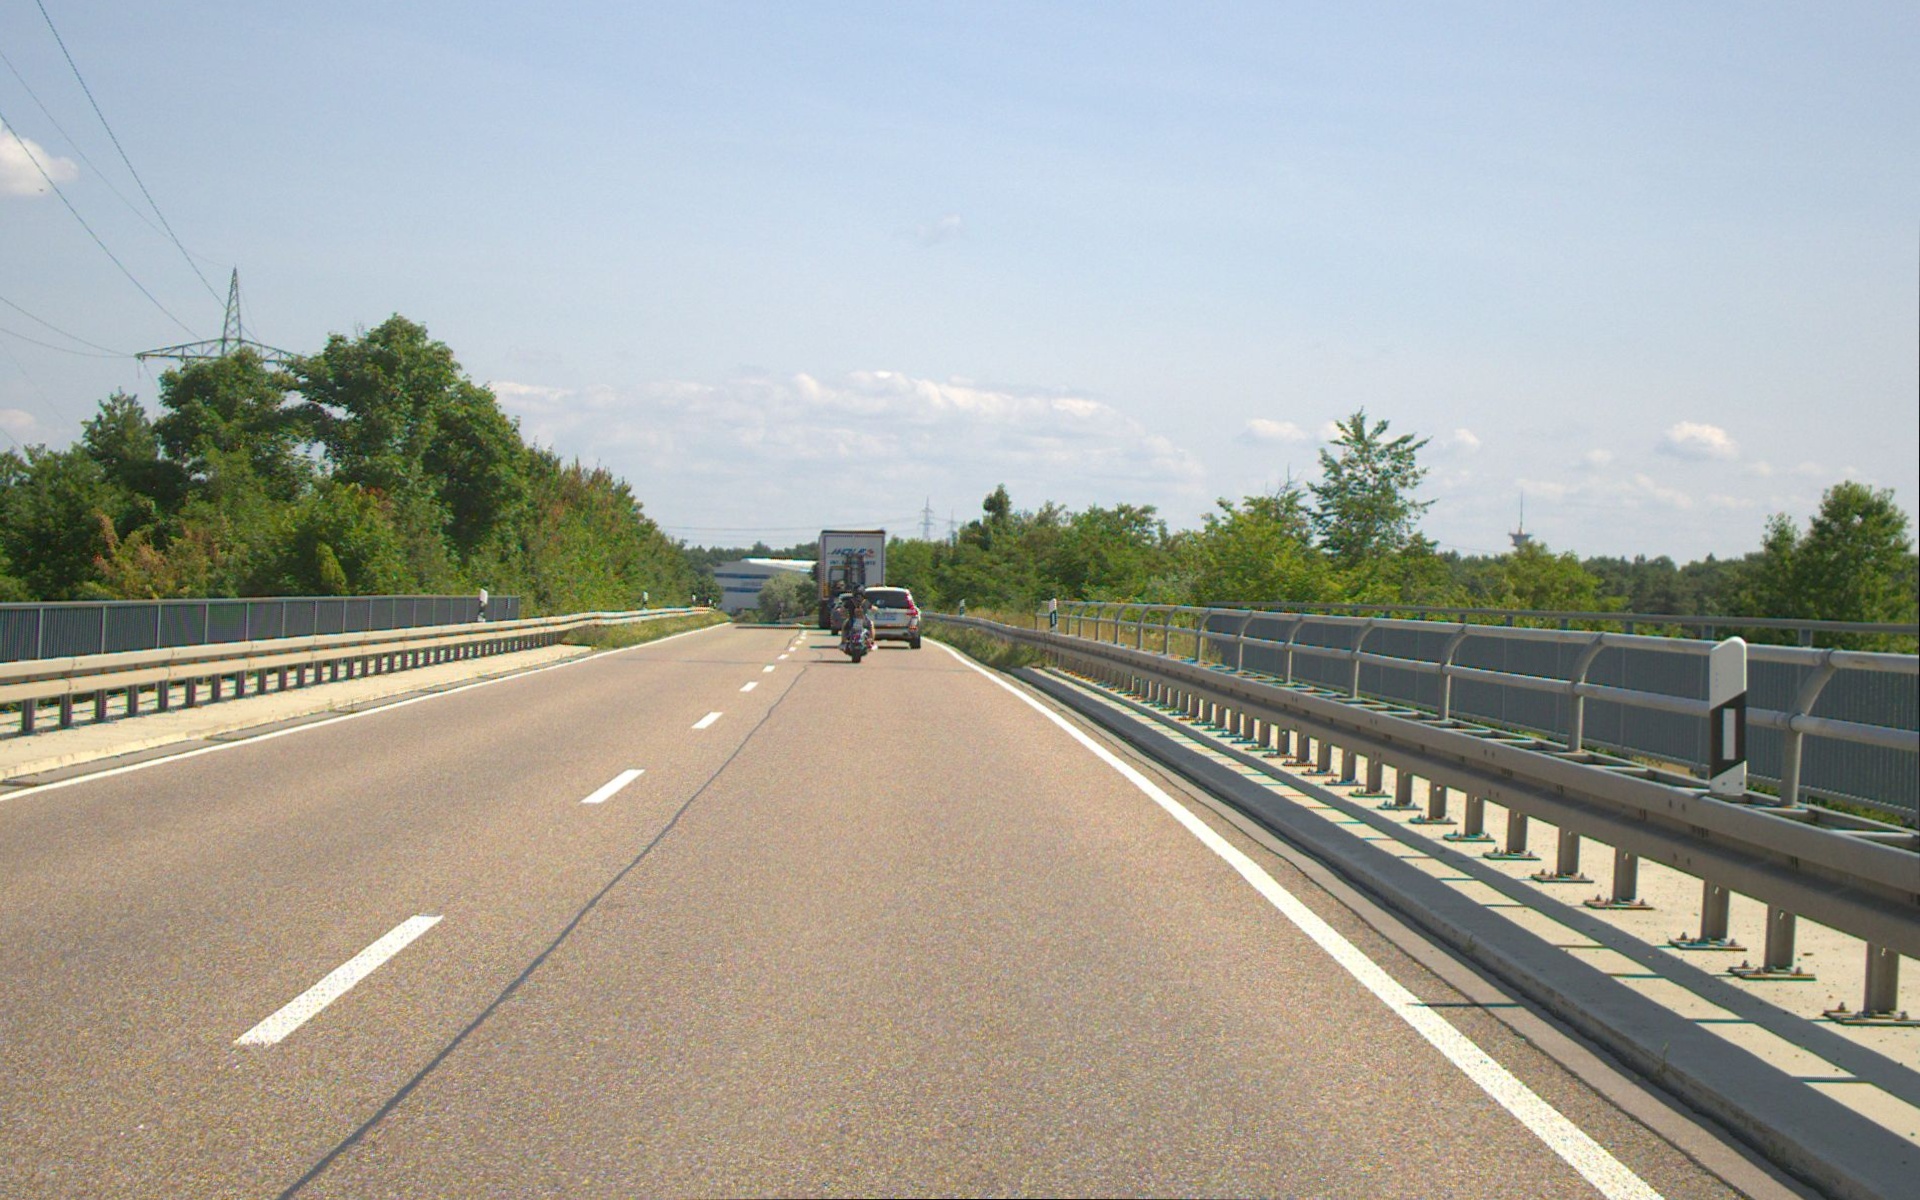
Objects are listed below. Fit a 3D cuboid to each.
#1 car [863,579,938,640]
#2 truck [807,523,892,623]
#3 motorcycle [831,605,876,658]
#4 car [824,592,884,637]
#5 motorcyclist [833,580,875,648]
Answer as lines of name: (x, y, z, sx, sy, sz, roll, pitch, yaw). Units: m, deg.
car: (-1.485, 0.213, 87.245, 1.825, 1.446, 4.000, 1, 1, 0)
truck: (-4.573, -1.117, 143.756, 3.241, 3.965, 9.444, 1, 0, 0)
motorcycle: (-2.111, 0.620, 68.192, 0.780, 0.972, 2.361, 1, 1, 1)
car: (-3.567, 0.480, 116.365, 1.866, 1.415, 4.000, 1, 1, 0)
motorcyclist: (-2.094, 0.272, 68.208, 0.780, 1.321, 0.813, 1, 1, 1)
